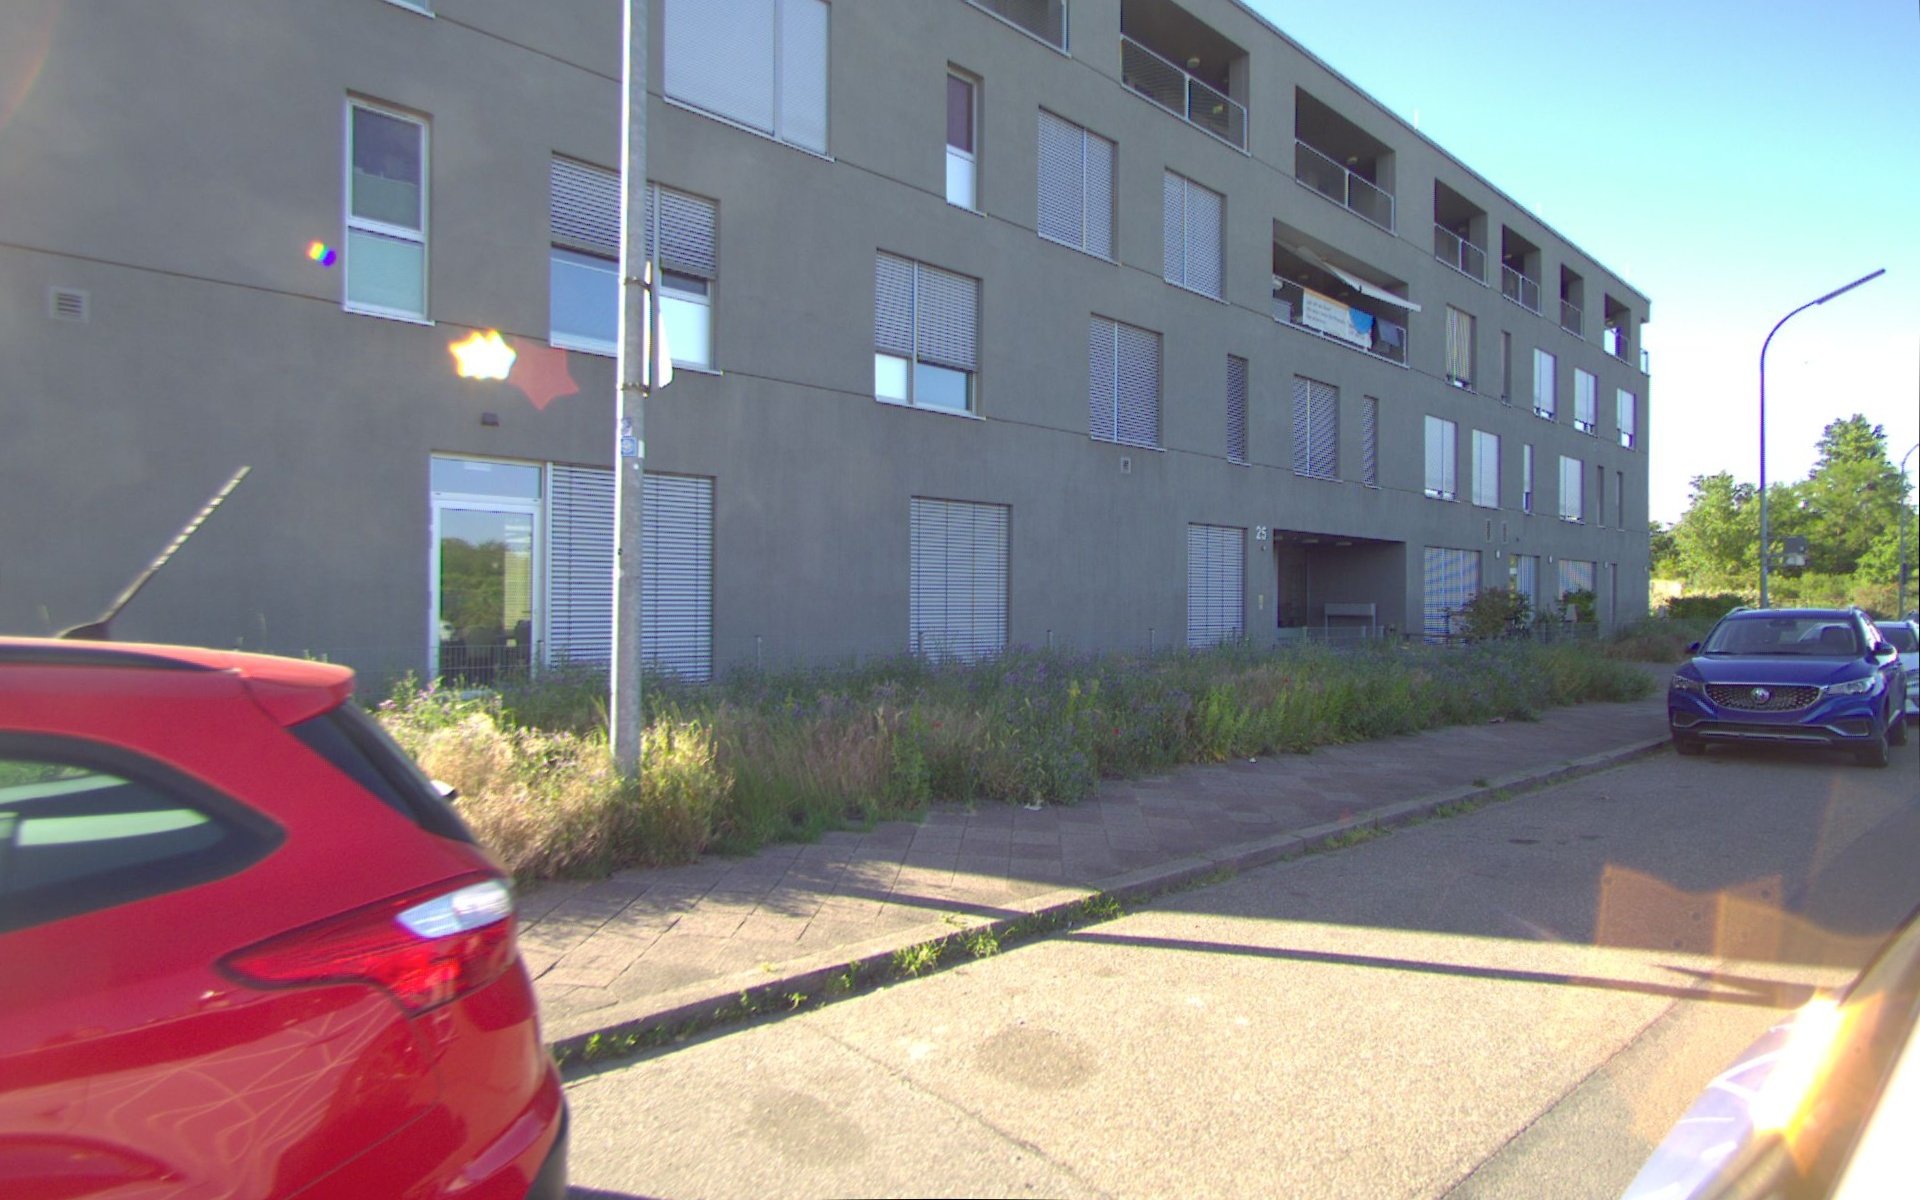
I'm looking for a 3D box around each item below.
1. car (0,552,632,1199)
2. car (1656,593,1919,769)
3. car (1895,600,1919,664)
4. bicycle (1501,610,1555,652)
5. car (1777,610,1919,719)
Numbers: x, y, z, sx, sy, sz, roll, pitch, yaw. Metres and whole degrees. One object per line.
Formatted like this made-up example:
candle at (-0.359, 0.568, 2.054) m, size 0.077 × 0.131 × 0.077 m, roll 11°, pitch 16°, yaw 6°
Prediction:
car at (-2.770, 0.705, 0.905) m, size 4.376 × 1.519 × 1.821 m, roll 0°, pitch -1°, yaw -42°
car at (9.656, 0.775, 11.546) m, size 4.548 × 1.620 × 1.819 m, roll 0°, pitch -2°, yaw -43°
car at (24.985, 0.773, 25.440) m, size 4.082 × 1.546 × 1.709 m, roll 0°, pitch -1°, yaw -41°
bicycle at (14.831, 0.791, 26.422) m, size 1.808 × 1.075 × 0.553 m, roll 0°, pitch -1°, yaw -38°
car at (14.115, 0.887, 15.473) m, size 4.505 × 1.448 × 1.747 m, roll 0°, pitch -2°, yaw -41°
